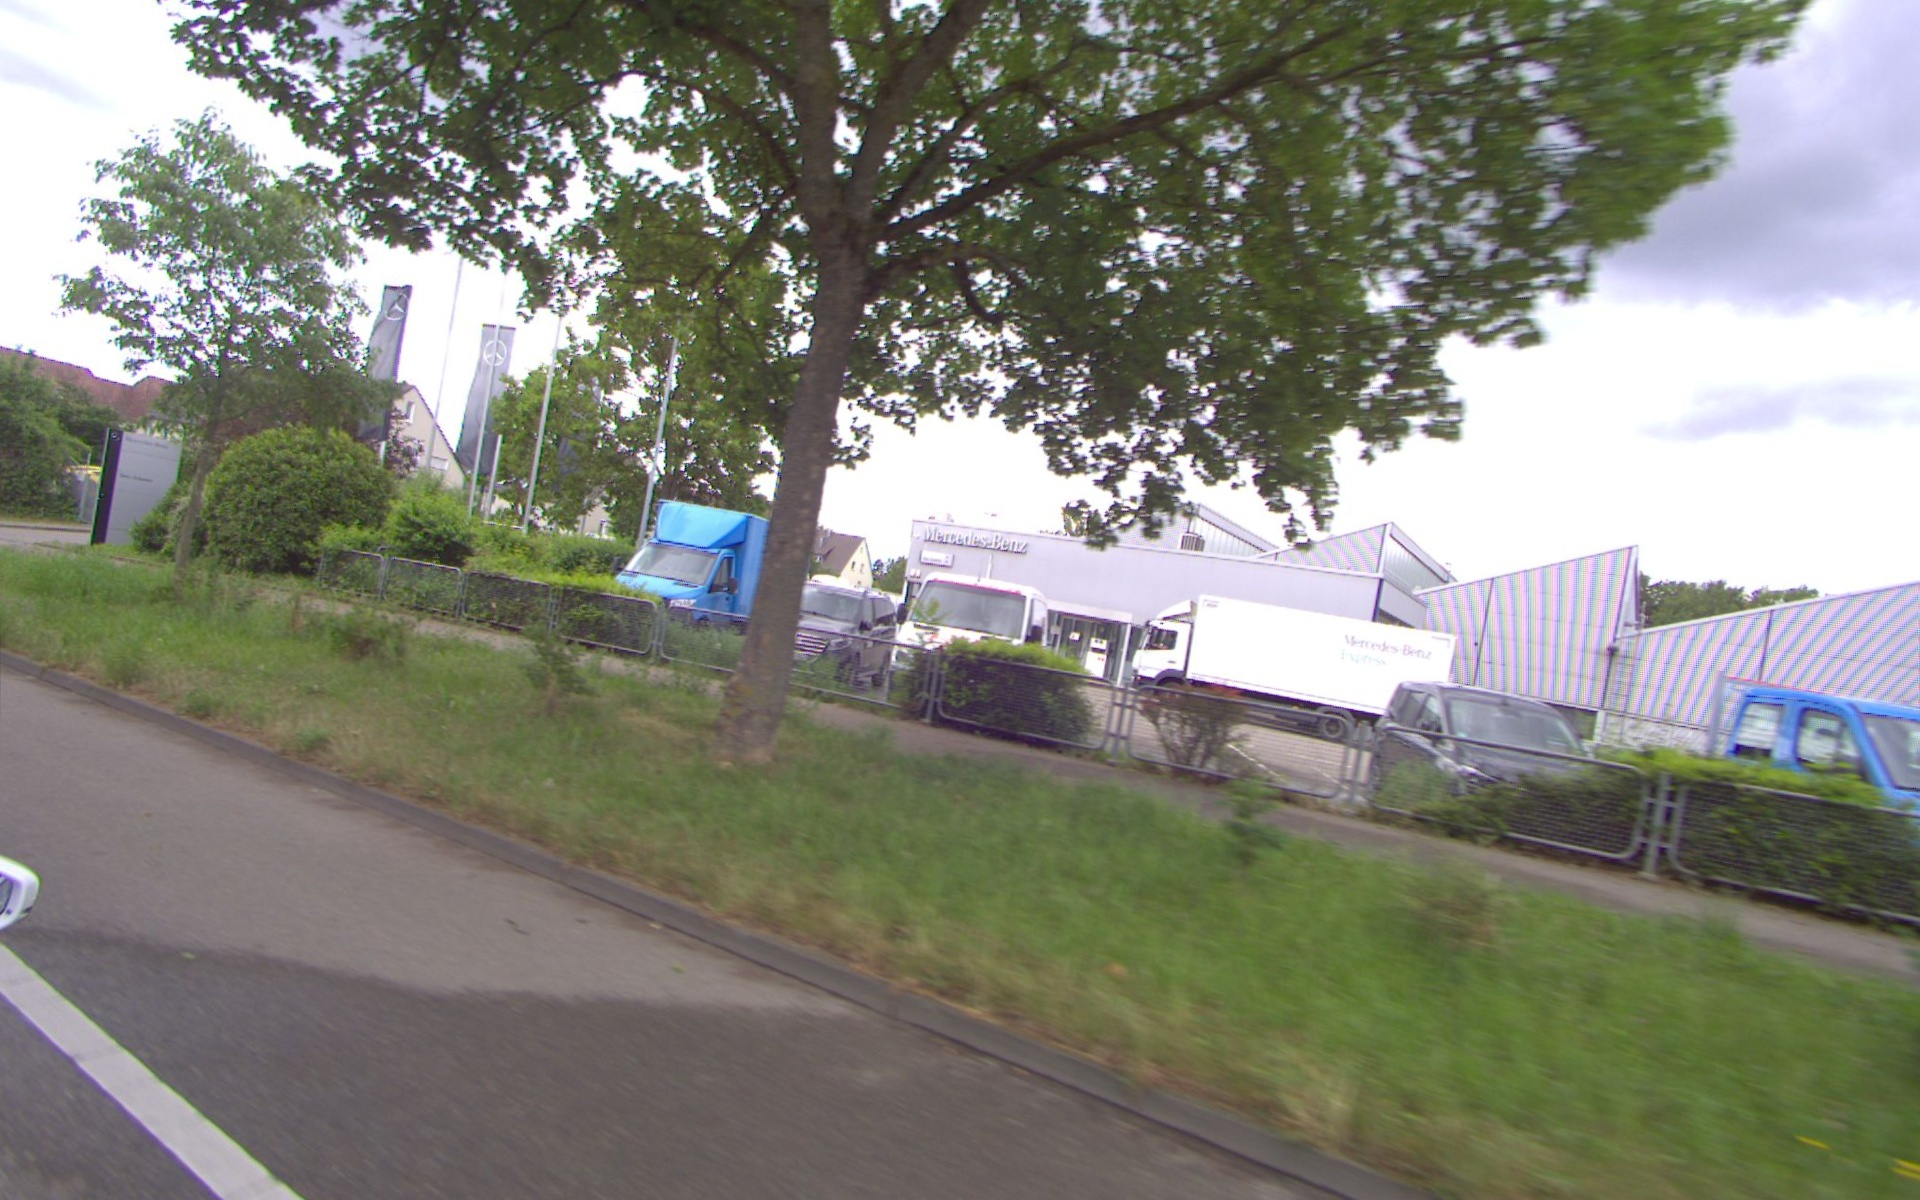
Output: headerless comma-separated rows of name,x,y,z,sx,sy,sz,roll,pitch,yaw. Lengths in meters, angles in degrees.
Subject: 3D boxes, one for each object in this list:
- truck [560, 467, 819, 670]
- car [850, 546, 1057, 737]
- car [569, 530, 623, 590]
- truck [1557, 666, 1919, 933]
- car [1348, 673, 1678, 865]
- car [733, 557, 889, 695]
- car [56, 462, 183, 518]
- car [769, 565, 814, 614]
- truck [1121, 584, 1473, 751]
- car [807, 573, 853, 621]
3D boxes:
truck,-5.622,-0.453,22.525,2.569,3.518,7.194,8,-1,8
car,0.177,0.772,17.247,2.317,2.393,6.040,8,-2,9
car,-19.549,-2.180,54.240,2.231,2.709,5.425,9,1,-18
truck,9.610,2.037,11.349,2.205,2.237,6.262,8,-2,5
car,6.536,1.903,12.505,1.962,1.647,4.005,8,-2,5
car,-2.684,0.555,19.179,1.889,2.098,4.005,8,-2,4
car,-38.792,-5.052,46.561,3.954,1.669,1.988,10,-2,-26
car,-10.959,-0.748,65.264,2.227,2.709,5.433,9,1,-13
truck,10.006,1.956,30.631,9.365,3.498,2.865,8,-2,21
car,-8.738,-0.270,67.085,2.227,2.709,5.433,9,1,-13
